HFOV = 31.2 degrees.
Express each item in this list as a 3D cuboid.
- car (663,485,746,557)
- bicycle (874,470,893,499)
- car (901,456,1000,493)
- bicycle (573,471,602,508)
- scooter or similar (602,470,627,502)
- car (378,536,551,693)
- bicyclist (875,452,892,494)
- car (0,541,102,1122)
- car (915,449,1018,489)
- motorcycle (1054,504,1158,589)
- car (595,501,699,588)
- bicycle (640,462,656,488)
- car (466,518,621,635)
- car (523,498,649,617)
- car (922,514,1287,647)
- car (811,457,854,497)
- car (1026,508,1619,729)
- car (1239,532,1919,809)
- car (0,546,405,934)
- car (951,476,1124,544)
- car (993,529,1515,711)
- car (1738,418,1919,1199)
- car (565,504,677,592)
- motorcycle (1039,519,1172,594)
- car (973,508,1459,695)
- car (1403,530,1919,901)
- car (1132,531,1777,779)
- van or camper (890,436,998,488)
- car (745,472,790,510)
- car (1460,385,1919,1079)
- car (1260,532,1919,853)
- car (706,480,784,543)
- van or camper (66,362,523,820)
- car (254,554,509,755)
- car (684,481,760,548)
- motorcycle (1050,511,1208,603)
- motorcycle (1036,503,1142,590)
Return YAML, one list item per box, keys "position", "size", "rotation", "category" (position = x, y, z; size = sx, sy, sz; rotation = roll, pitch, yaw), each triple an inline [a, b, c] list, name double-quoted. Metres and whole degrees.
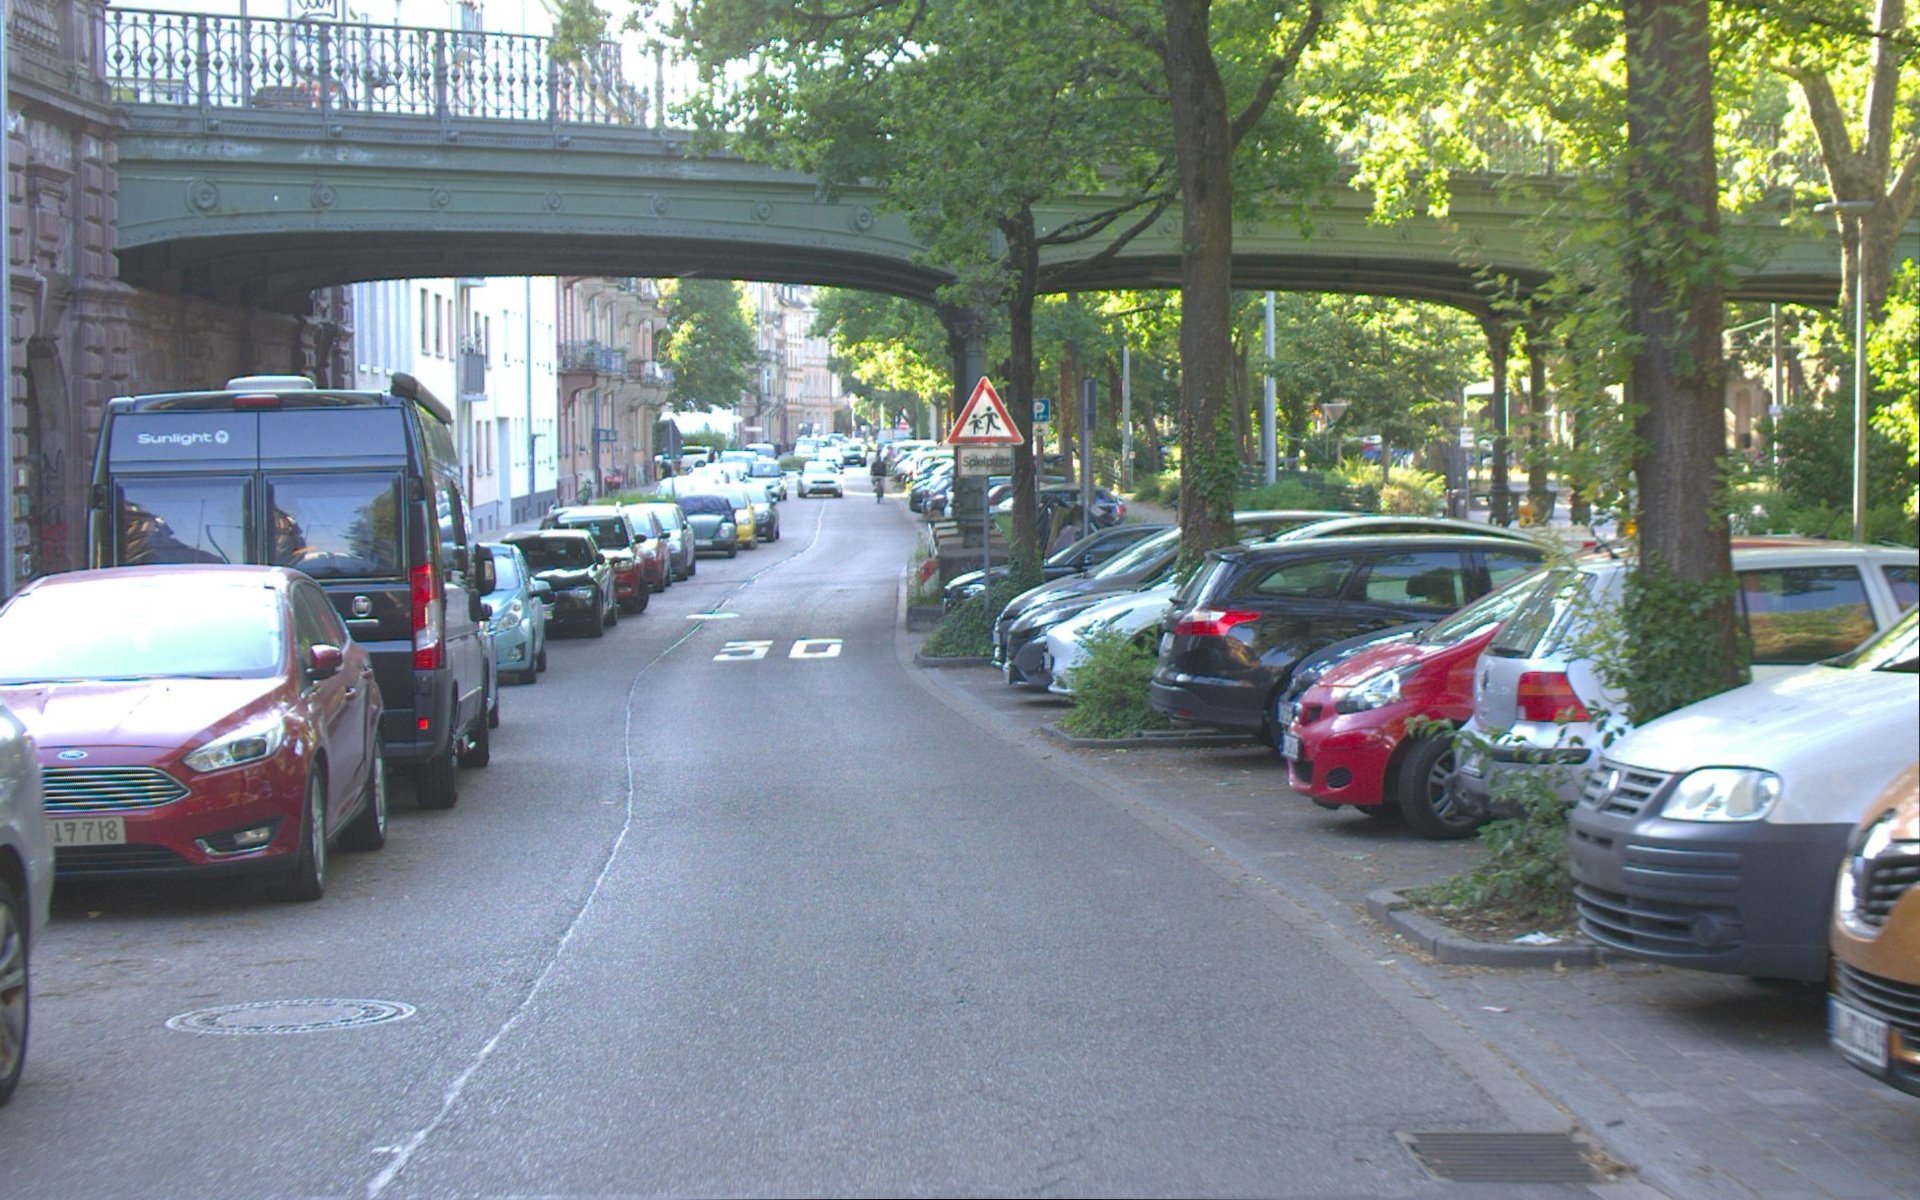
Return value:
- position: [-5.732, -1.801, 77.409]
  size: [1.566, 1.512, 3.783]
  rotation: [-1, 3, 0]
  category: "car"
- position: [-2.924, -4.410, 131.689]
  size: [0.641, 1.096, 1.944]
  rotation: [1, 1, -3]
  category: "bicycle"
- position: [-0.413, -5.502, 150.858]
  size: [4.220, 1.448, 1.649]
  rotation: [-2, 3, 3]
  category: "car"
- position: [-12.660, -3.765, 116.968]
  size: [0.737, 1.202, 2.514]
  rotation: [1, 3, -1]
  category: "bicycle"
- position: [-13.549, -4.463, 134.961]
  size: [0.783, 1.218, 2.704]
  rotation: [1, 1, -2]
  category: "scooter or similar"
- position: [-5.439, 0.114, 38.081]
  size: [1.594, 1.542, 3.916]
  rotation: [-2, 2, -4]
  category: "car"
- position: [-2.921, -4.852, 131.639]
  size: [0.627, 1.567, 0.802]
  rotation: [1, 1, -3]
  category: "bicyclist"
- position: [-3.338, 0.651, 7.614]
  size: [1.699, 1.492, 4.550]
  rotation: [-2, 1, 0]
  category: "car"
- position: [0.258, -5.380, 141.068]
  size: [4.081, 1.437, 1.762]
  rotation: [-2, 3, -4]
  category: "car"
- position: [2.456, -0.904, 57.687]
  size: [1.601, 1.403, 0.712]
  rotation: [1, 1, 18]
  category: "motorcycle"
- position: [-5.960, -1.096, 65.828]
  size: [1.636, 1.461, 4.001]
  rotation: [-3, 3, -1]
  category: "car"
- position: [-14.349, -5.738, 158.005]
  size: [0.704, 1.143, 1.890]
  rotation: [1, 1, -5]
  category: "bicycle"
- position: [-5.770, -0.362, 48.019]
  size: [1.716, 1.459, 4.001]
  rotation: [-2, 2, -1]
  category: "car"
- position: [-5.822, -0.698, 53.898]
  size: [1.716, 1.702, 4.324]
  rotation: [-2, 2, -4]
  category: "car"
- position: [1.761, -0.252, 42.856]
  size: [4.374, 1.572, 1.675]
  rotation: [1, 1, -3]
  category: "car"
- position: [-5.308, -5.127, 143.081]
  size: [1.668, 1.425, 4.001]
  rotation: [-3, 4, -1]
  category: "car"
- position: [2.879, 0.130, 27.981]
  size: [4.532, 1.690, 1.908]
  rotation: [1, 1, -3]
  category: "car"
- position: [3.775, 0.397, 20.635]
  size: [3.986, 1.568, 1.587]
  rotation: [1, 1, -3]
  category: "car"
- position: [-3.653, 0.538, 15.903]
  size: [1.699, 1.502, 4.229]
  rotation: [-2, 1, -4]
  category: "car"
- position: [1.758, -2.056, 78.891]
  size: [3.781, 1.467, 1.636]
  rotation: [-1, 1, -5]
  category: "car"
- position: [2.551, 0.156, 30.536]
  size: [4.374, 1.527, 1.876]
  rotation: [1, 1, -3]
  category: "car"
- position: [3.994, 0.504, 7.968]
  size: [3.987, 1.752, 1.799]
  rotation: [1, 1, 2]
  category: "car"
- position: [-6.023, -0.955, 61.434]
  size: [1.689, 1.436, 4.001]
  rotation: [-1, 2, -1]
  category: "car"
- position: [2.218, -0.664, 52.478]
  size: [1.831, 1.128, 0.851]
  rotation: [0, 1, -25]
  category: "motorcycle"
- position: [2.409, 0.000, 33.042]
  size: [4.373, 1.702, 1.907]
  rotation: [1, 1, -6]
  category: "car"
- position: [4.111, 0.488, 15.552]
  size: [3.987, 1.568, 1.666]
  rotation: [1, 1, 1]
  category: "car"
- position: [3.247, 0.343, 23.031]
  size: [4.020, 1.568, 1.587]
  rotation: [1, 1, -3]
  category: "car"
- position: [-0.762, -6.534, 163.356]
  size: [4.981, 2.369, 2.185]
  rotation: [1, 1, -3]
  category: "van or camper"
- position: [-7.686, -4.367, 137.448]
  size: [1.504, 1.430, 2.753]
  rotation: [-1, 3, 3]
  category: "car"
- position: [4.103, 0.263, 10.748]
  size: [4.671, 1.918, 1.873]
  rotation: [-3, 1, -3]
  category: "car"
- position: [3.667, 0.451, 17.902]
  size: [3.986, 1.568, 1.587]
  rotation: [1, 1, -3]
  category: "car"
- position: [-5.512, -2.300, 88.386]
  size: [1.739, 1.474, 4.001]
  rotation: [-1, 3, 0]
  category: "car"
- position: [-4.086, -0.108, 22.223]
  size: [2.235, 2.514, 6.423]
  rotation: [1, 1, -5]
  category: "van or camper"
- position: [-4.640, 0.384, 28.076]
  size: [1.744, 1.461, 4.376]
  rotation: [1, 1, -6]
  category: "car"
- position: [-5.763, -2.090, 83.513]
  size: [1.702, 1.520, 3.774]
  rotation: [-1, 3, -2]
  category: "car"
- position: [2.299, -0.583, 46.738]
  size: [1.929, 1.233, 0.905]
  rotation: [0, 1, -27]
  category: "motorcycle"
- position: [2.128, -0.889, 56.768]
  size: [1.601, 1.403, 0.712]
  rotation: [1, 1, 18]
  category: "motorcycle"
